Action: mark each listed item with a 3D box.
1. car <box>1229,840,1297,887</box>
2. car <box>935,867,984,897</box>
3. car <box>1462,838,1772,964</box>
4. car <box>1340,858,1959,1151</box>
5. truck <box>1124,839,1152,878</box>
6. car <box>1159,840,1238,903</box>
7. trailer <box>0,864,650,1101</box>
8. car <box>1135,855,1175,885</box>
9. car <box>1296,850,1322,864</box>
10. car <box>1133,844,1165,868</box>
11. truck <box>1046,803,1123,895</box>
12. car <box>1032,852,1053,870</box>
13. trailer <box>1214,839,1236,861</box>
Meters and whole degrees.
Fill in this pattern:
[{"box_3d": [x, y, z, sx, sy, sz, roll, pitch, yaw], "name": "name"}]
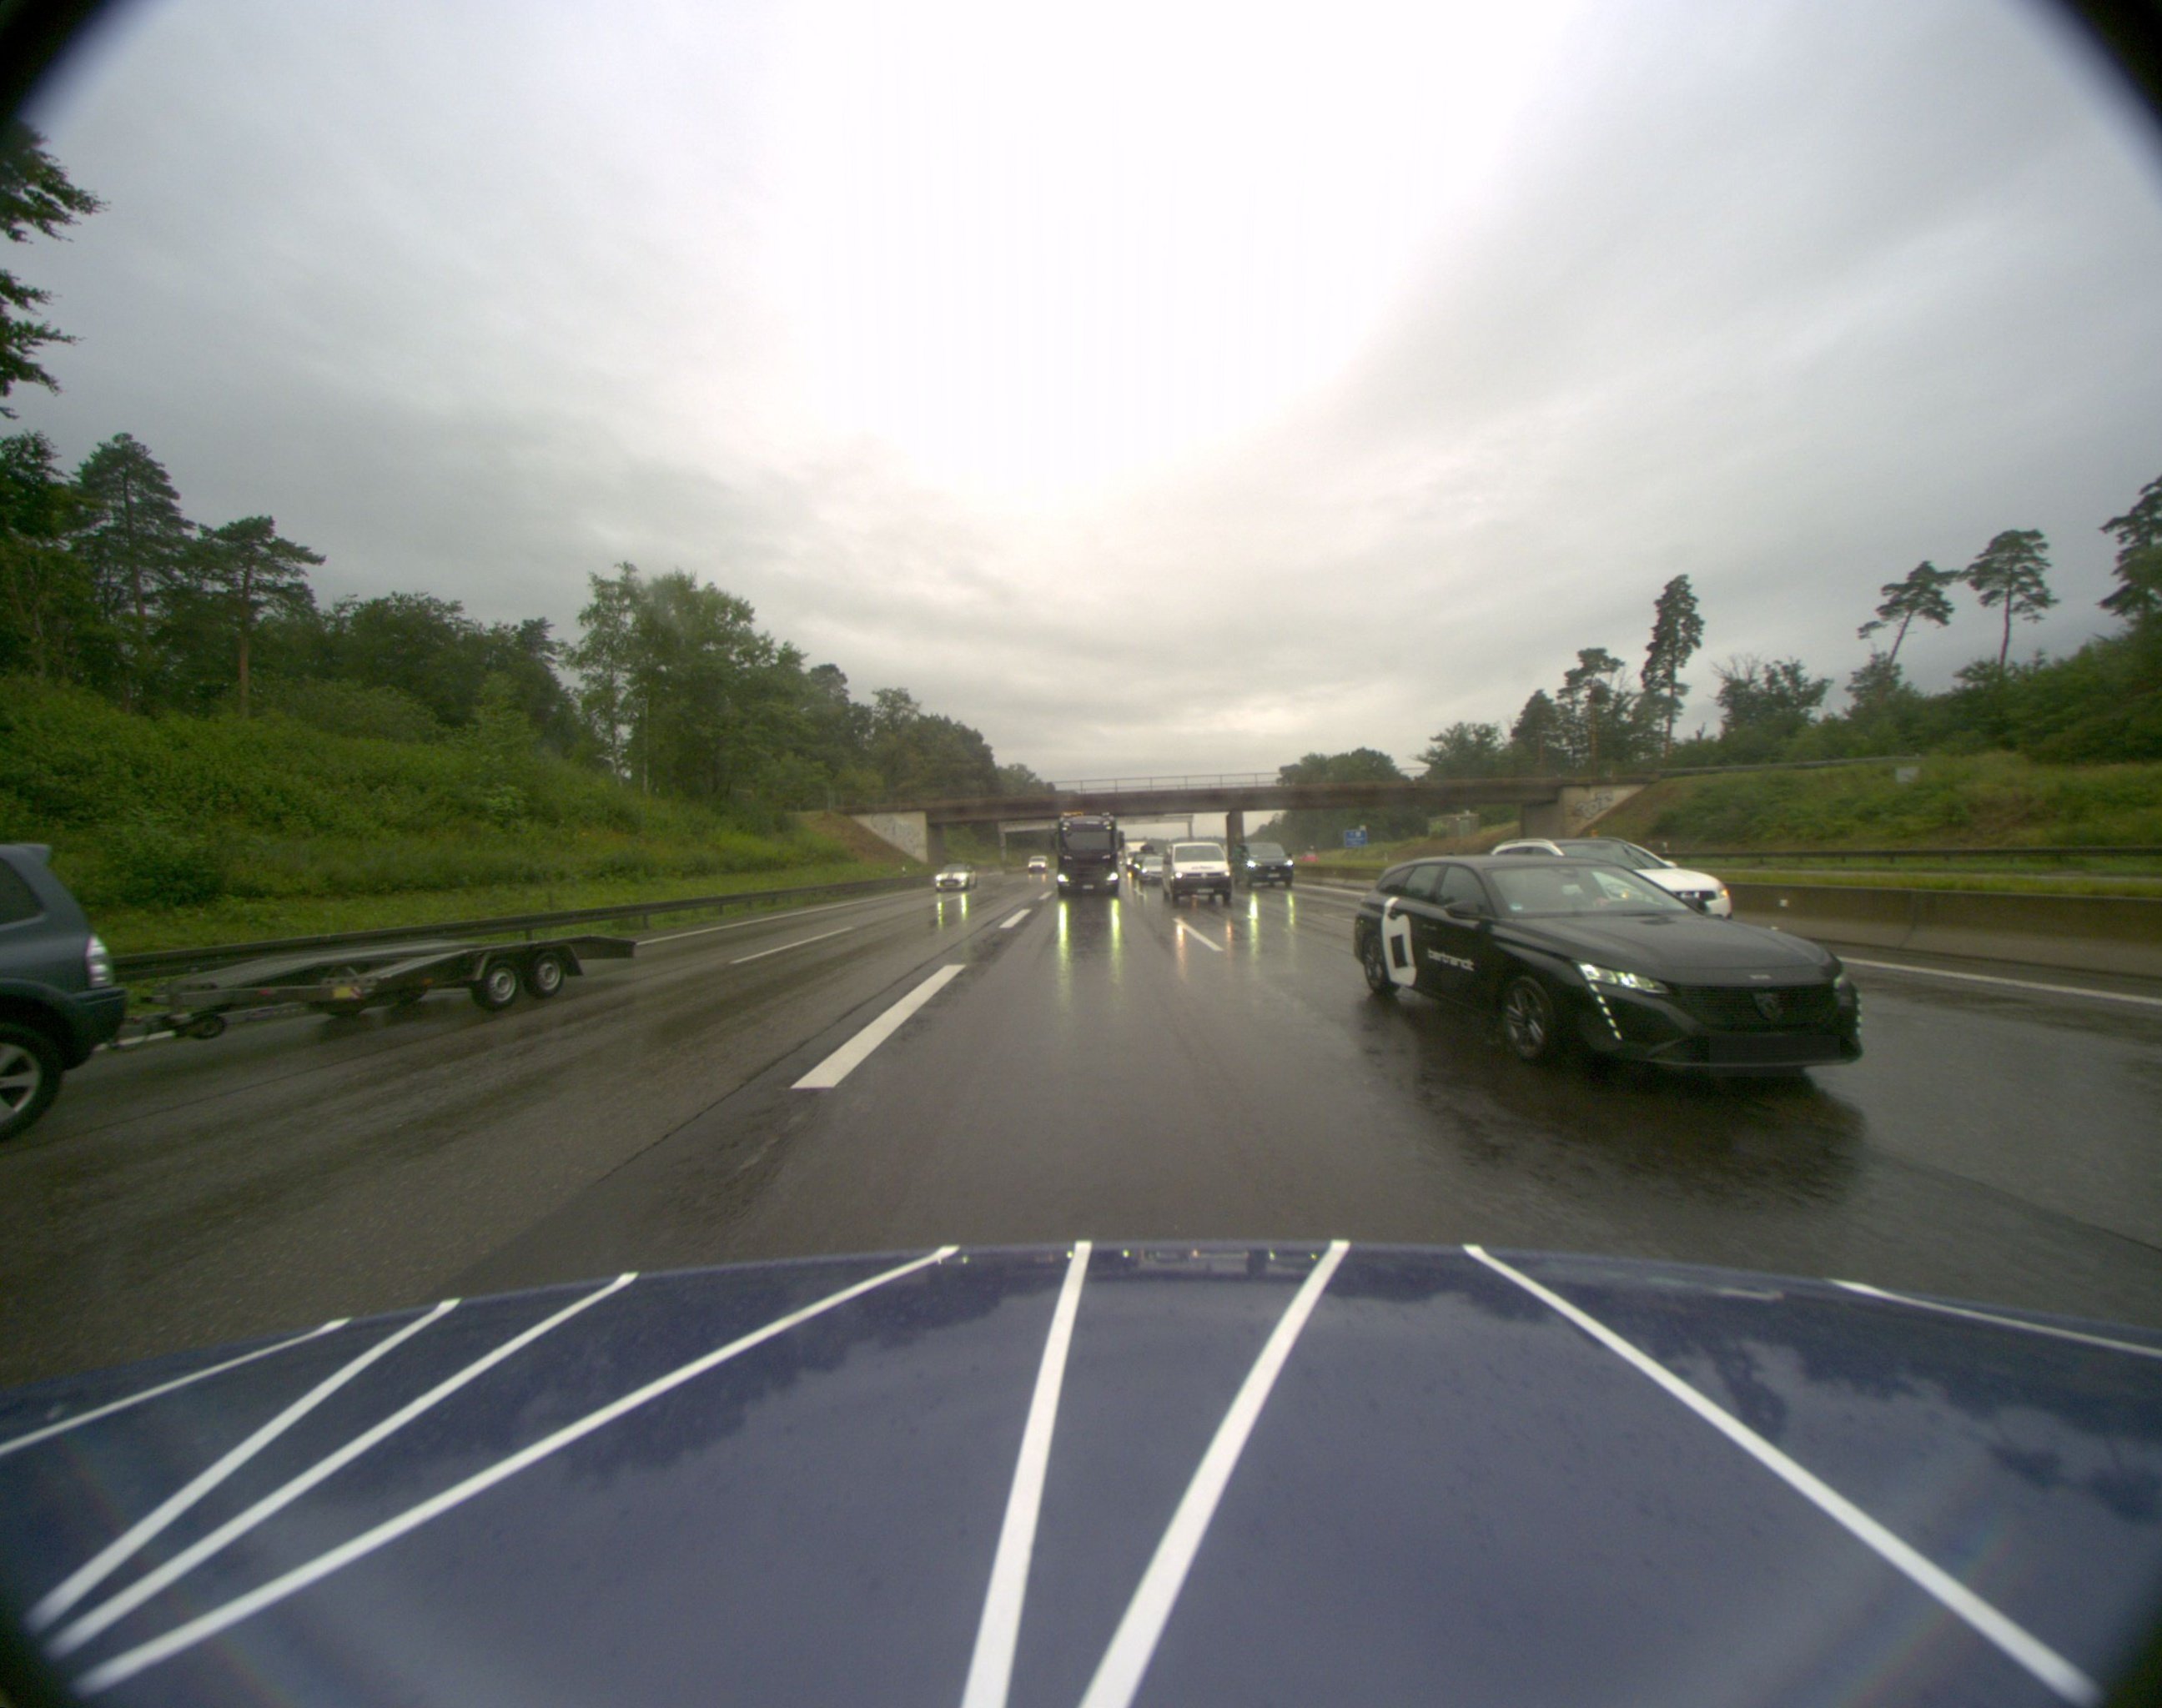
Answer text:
[{"box_3d": [8.284, 0.392, 35.056, 1.996, 1.933, 5.243, -2, 1, 2], "name": "car"}, {"box_3d": [-6.507, 1.470, 41.089, 1.795, 1.399, 4.228, -2, 0, 2], "name": "car"}, {"box_3d": [8.127, 0.616, 12.163, 1.850, 1.582, 4.466, -2, 0, 1], "name": "car"}, {"box_3d": [3.808, 0.824, 6.312, 1.850, 1.495, 4.466, -2, 0, 1], "name": "car"}, {"box_3d": [6.141, 0.470, 82.751, 2.521, 3.941, 6.994, -2, 0, 1], "name": "truck"}, {"box_3d": [3.843, 0.528, 25.616, 1.995, 1.869, 4.767, -2, 0, 1], "name": "car"}, {"box_3d": [-7.454, 1.039, 8.430, 2.248, 1.704, 5.082, -2, 0, 2], "name": "trailer"}, {"box_3d": [4.085, 0.826, 42.446, 1.850, 1.496, 4.466, -2, 0, 1], "name": "car"}, {"box_3d": [26.567, 0.364, 88.524, 1.850, 1.582, 3.944, -2, 0, 1], "name": "car"}, {"box_3d": [4.837, 0.119, 54.700, 1.994, 1.551, 4.767, -2, 0, 2], "name": "car"}, {"box_3d": [0.323, -0.274, 35.224, 2.879, 3.528, 10.911, -2, 1, 2], "name": "truck"}, {"box_3d": [-4.377, 0.749, 87.660, 1.994, 1.910, 4.767, -2, 0, 2], "name": "car"}, {"box_3d": [33.536, -0.971, 177.411, 3.213, 4.785, 13.349, -2, 0, 4], "name": "trailer"}]
